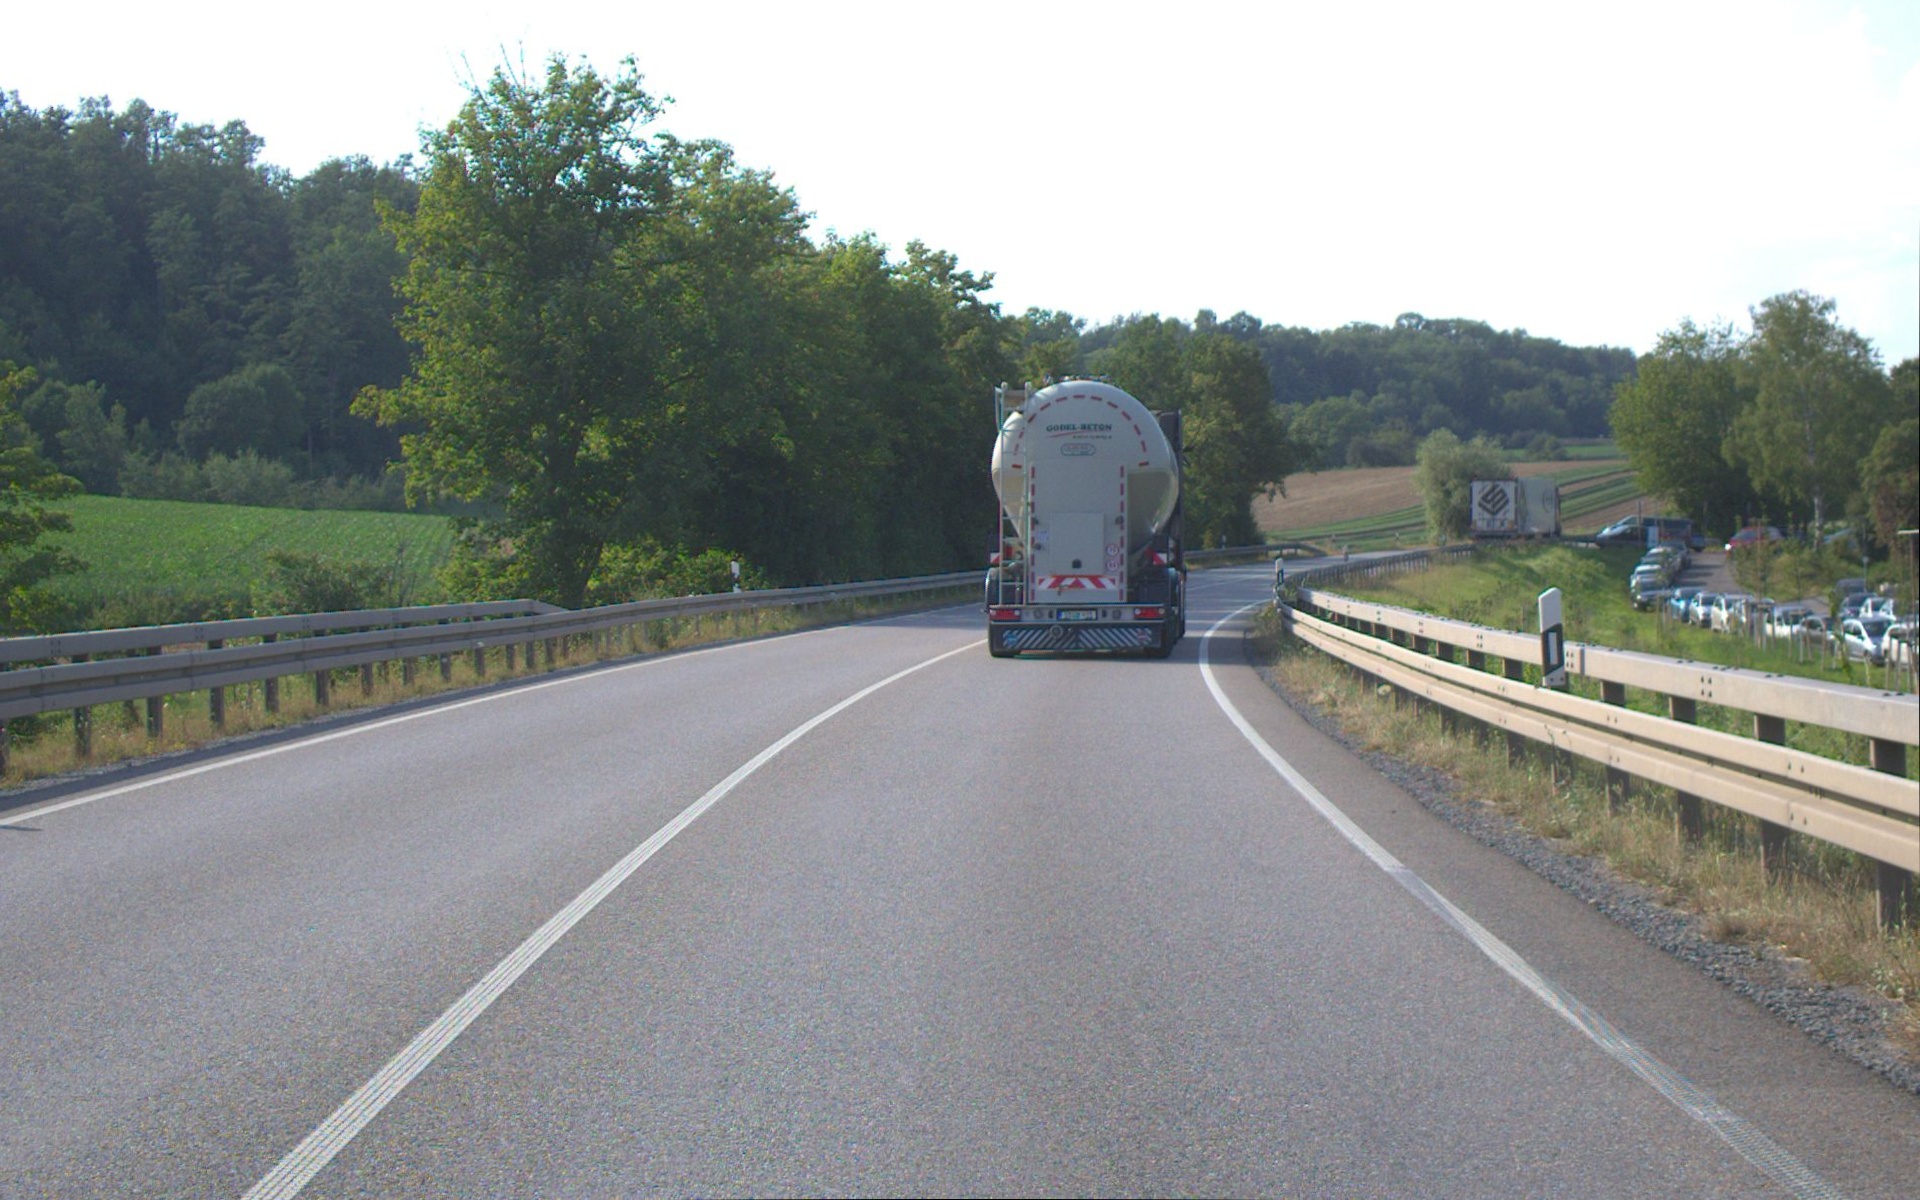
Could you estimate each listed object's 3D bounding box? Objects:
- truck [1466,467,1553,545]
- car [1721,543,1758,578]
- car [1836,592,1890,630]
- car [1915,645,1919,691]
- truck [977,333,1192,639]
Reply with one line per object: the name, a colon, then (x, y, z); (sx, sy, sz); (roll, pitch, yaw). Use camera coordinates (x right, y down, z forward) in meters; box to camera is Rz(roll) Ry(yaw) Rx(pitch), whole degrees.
truck: (31.149, -5.359, 194.460); (3.186, 4.213, 13.163); (-1, 2, 16)
car: (45.176, -2.310, 199.240); (1.893, 1.681, 5.084); (-4, 2, 12)
car: (38.480, 0.459, 146.573); (1.701, 1.394, 4.783); (-4, 1, 9)
car: (31.994, 2.183, 108.370); (1.891, 1.477, 4.784); (-5, 2, -6)
truck: (2.063, -1.640, 53.018); (2.893, 4.128, 13.171); (0, 1, 3)
